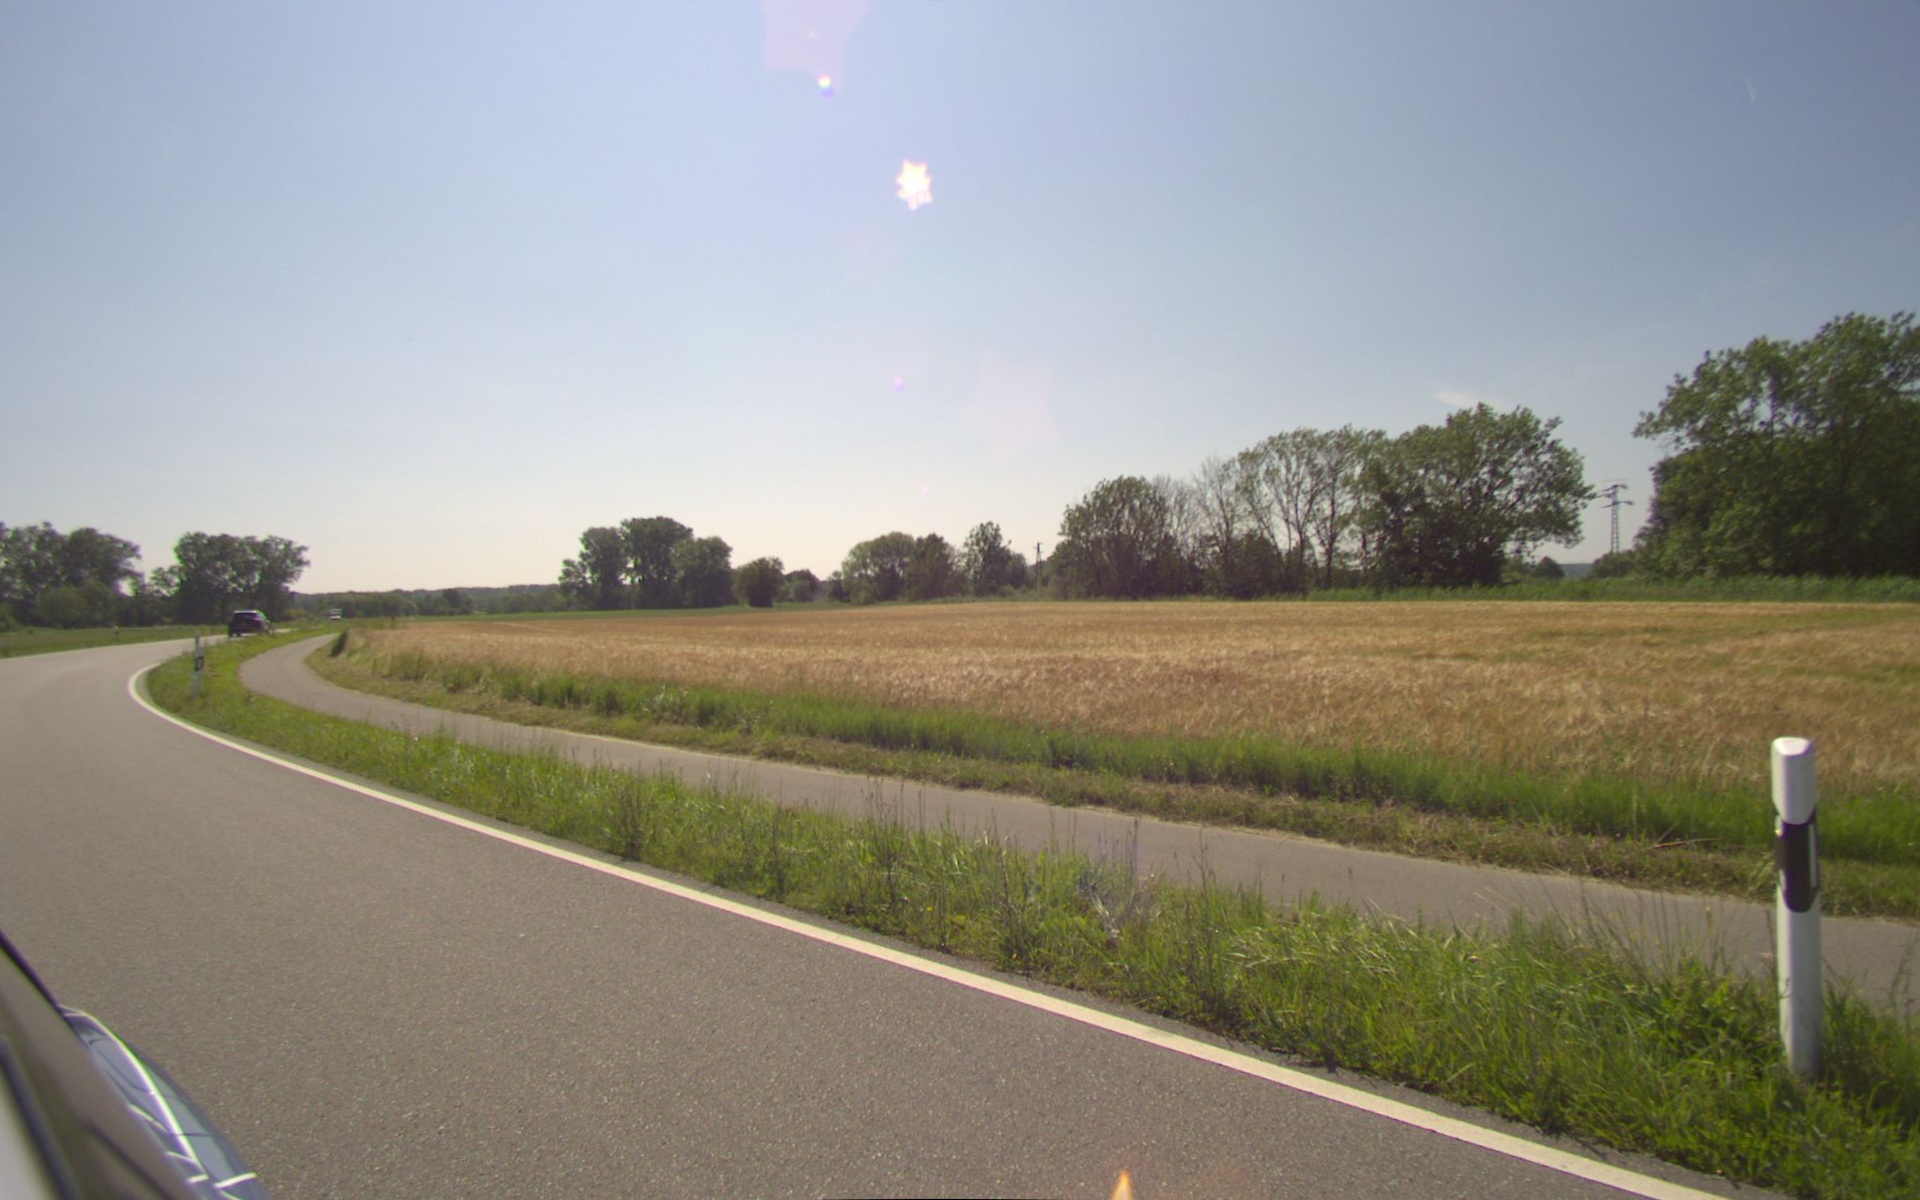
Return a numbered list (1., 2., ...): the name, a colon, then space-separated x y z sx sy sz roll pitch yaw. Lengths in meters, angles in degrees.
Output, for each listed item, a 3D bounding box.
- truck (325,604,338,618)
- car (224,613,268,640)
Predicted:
1. truck: -133.689 2.296 215.329 1.966 2.859 5.234 -2 0 -28
2. car: -47.937 1.783 68.031 1.860 1.728 4.027 -1 -1 -28
